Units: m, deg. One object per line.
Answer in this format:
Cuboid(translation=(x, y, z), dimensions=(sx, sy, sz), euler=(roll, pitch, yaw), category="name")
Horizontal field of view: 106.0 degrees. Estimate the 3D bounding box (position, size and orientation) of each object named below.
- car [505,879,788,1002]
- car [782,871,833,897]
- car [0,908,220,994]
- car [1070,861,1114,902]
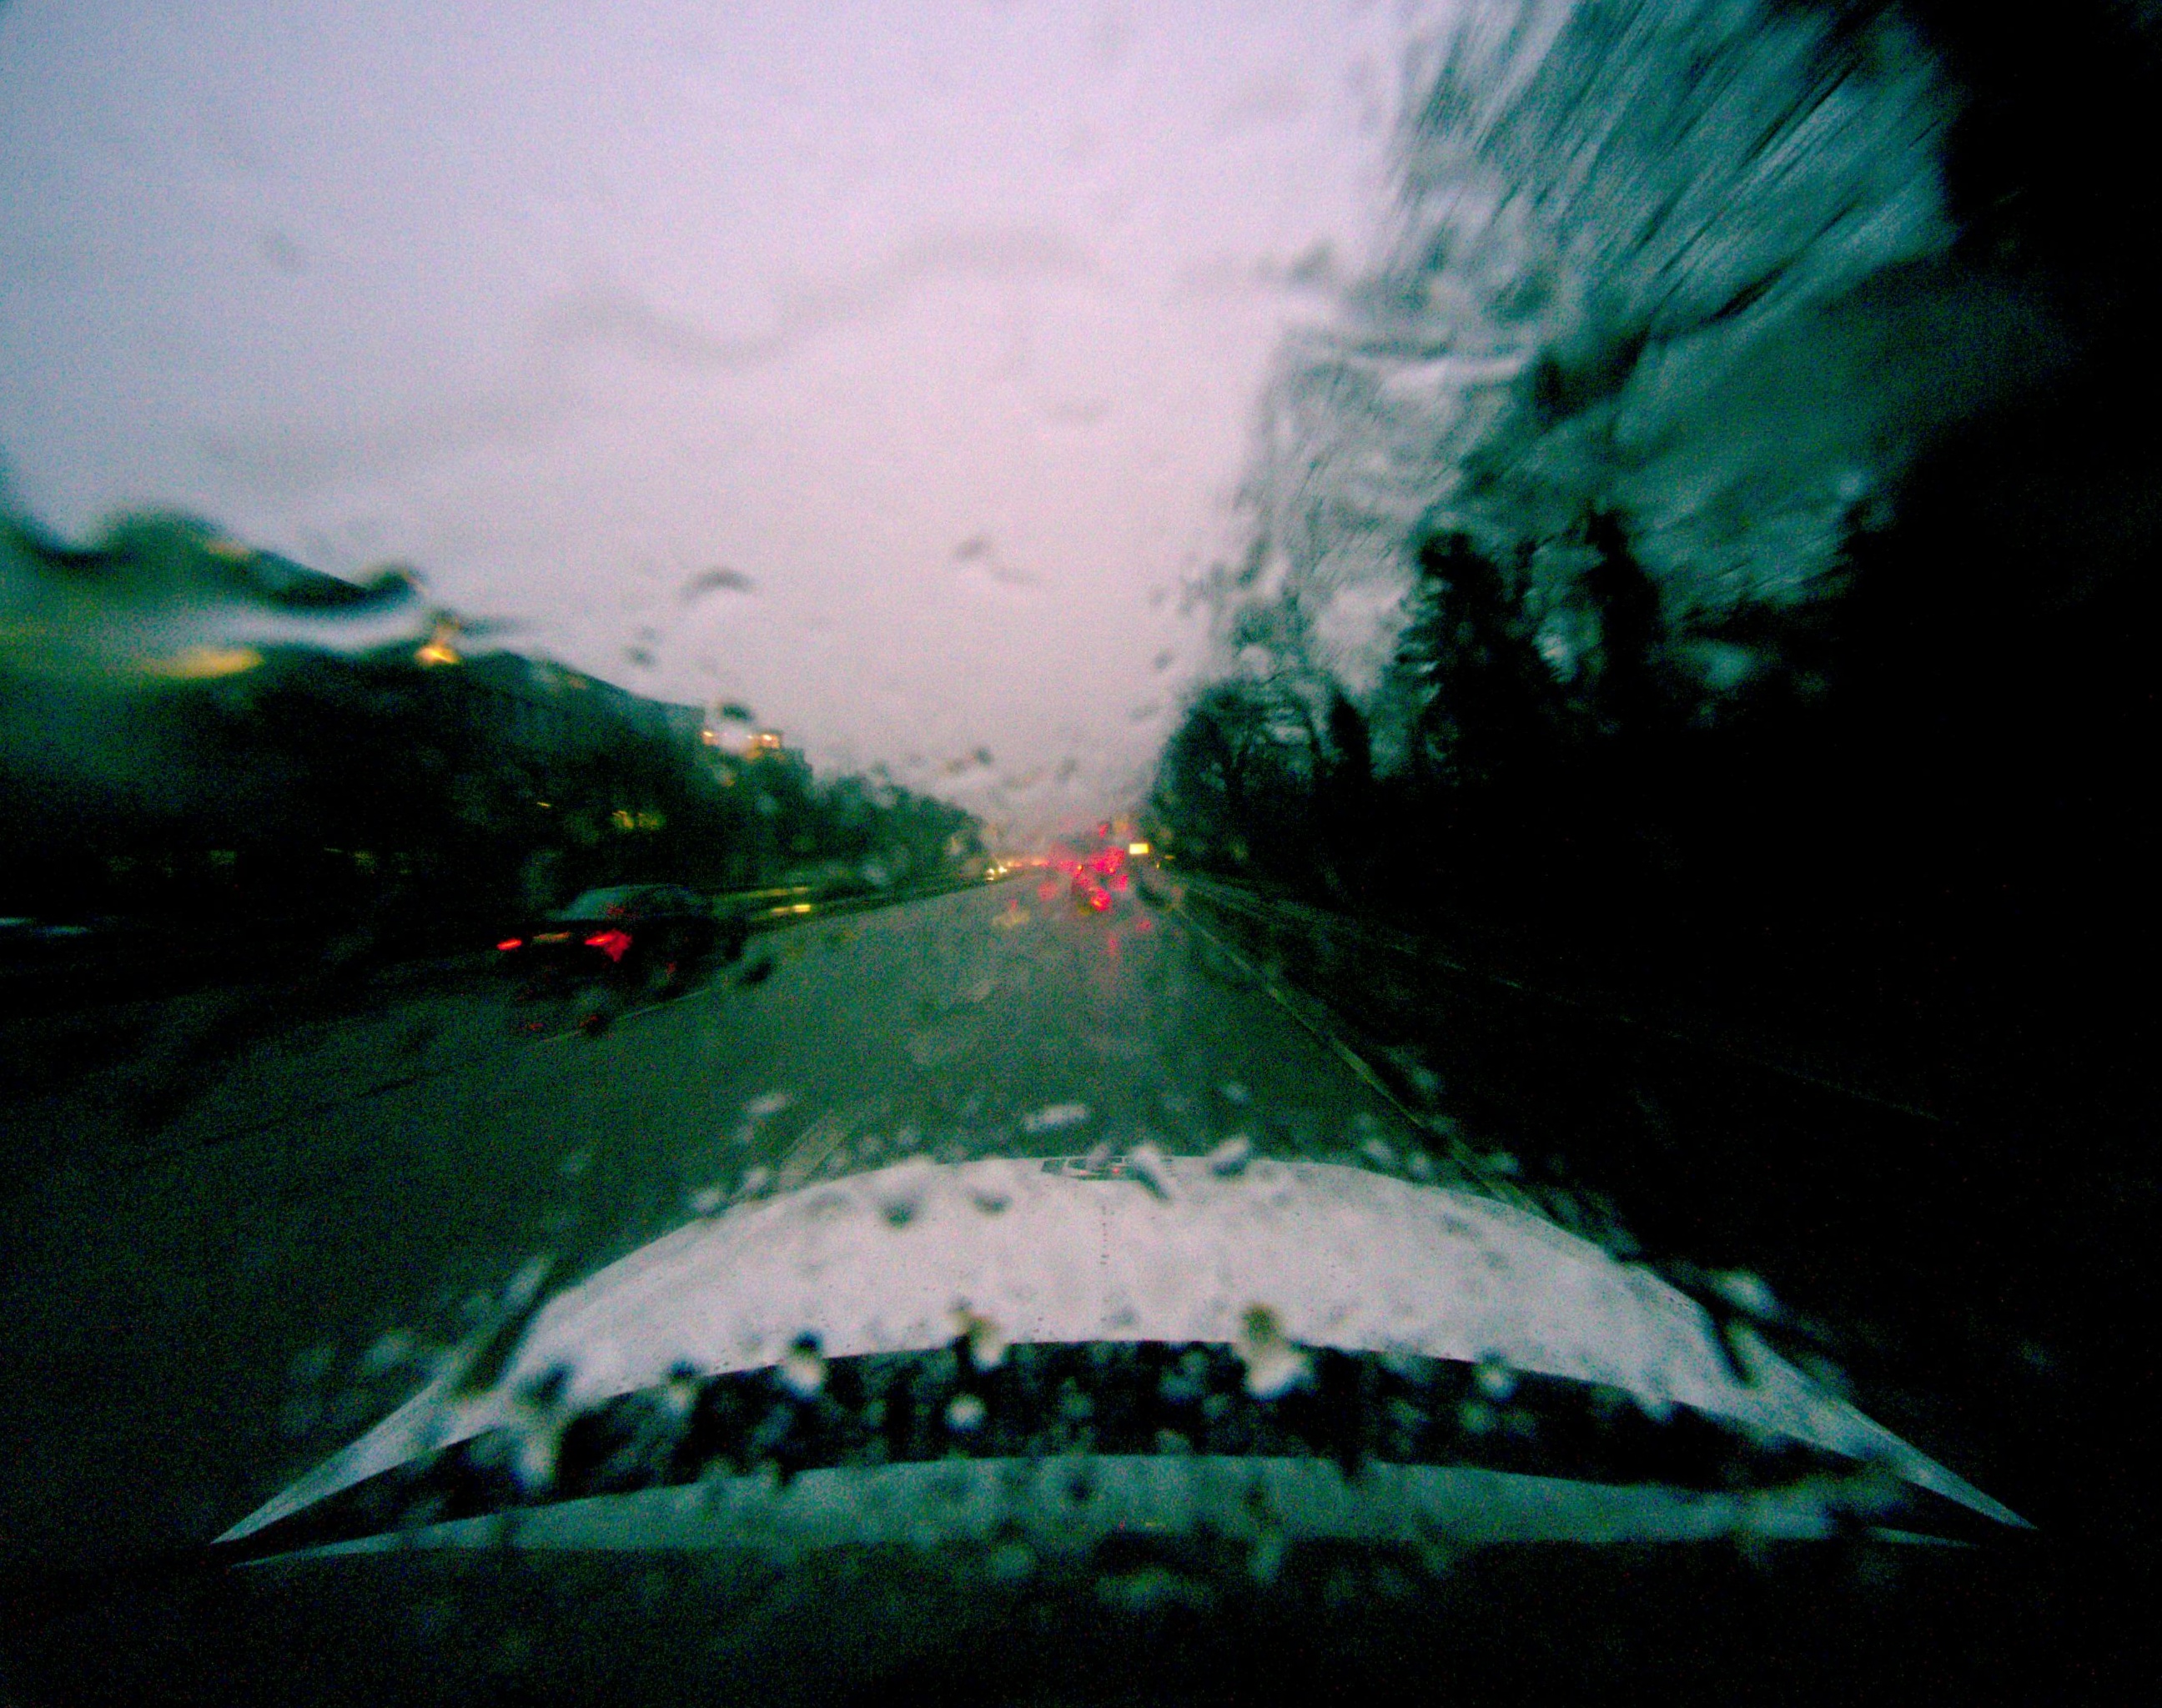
Cuboid(translation=(-6.728, 1.240, 13.354), dimensions=(1.768, 1.534, 4.707), euler=(-4, -2, 4), category="car")
Cuboid(translation=(-17.449, 1.907, 52.138), dimensions=(1.539, 1.513, 4.543), euler=(-1, -1, 3), category="car")
Cuboid(translation=(-19.367, 1.784, 15.155), dimensions=(1.539, 1.271, 4.690), euler=(0, 0, 3), category="car")
Cuboid(translation=(0.379, 0.972, 29.937), dimensions=(1.523, 1.416, 3.478), euler=(0, -1, 0), category="car")
